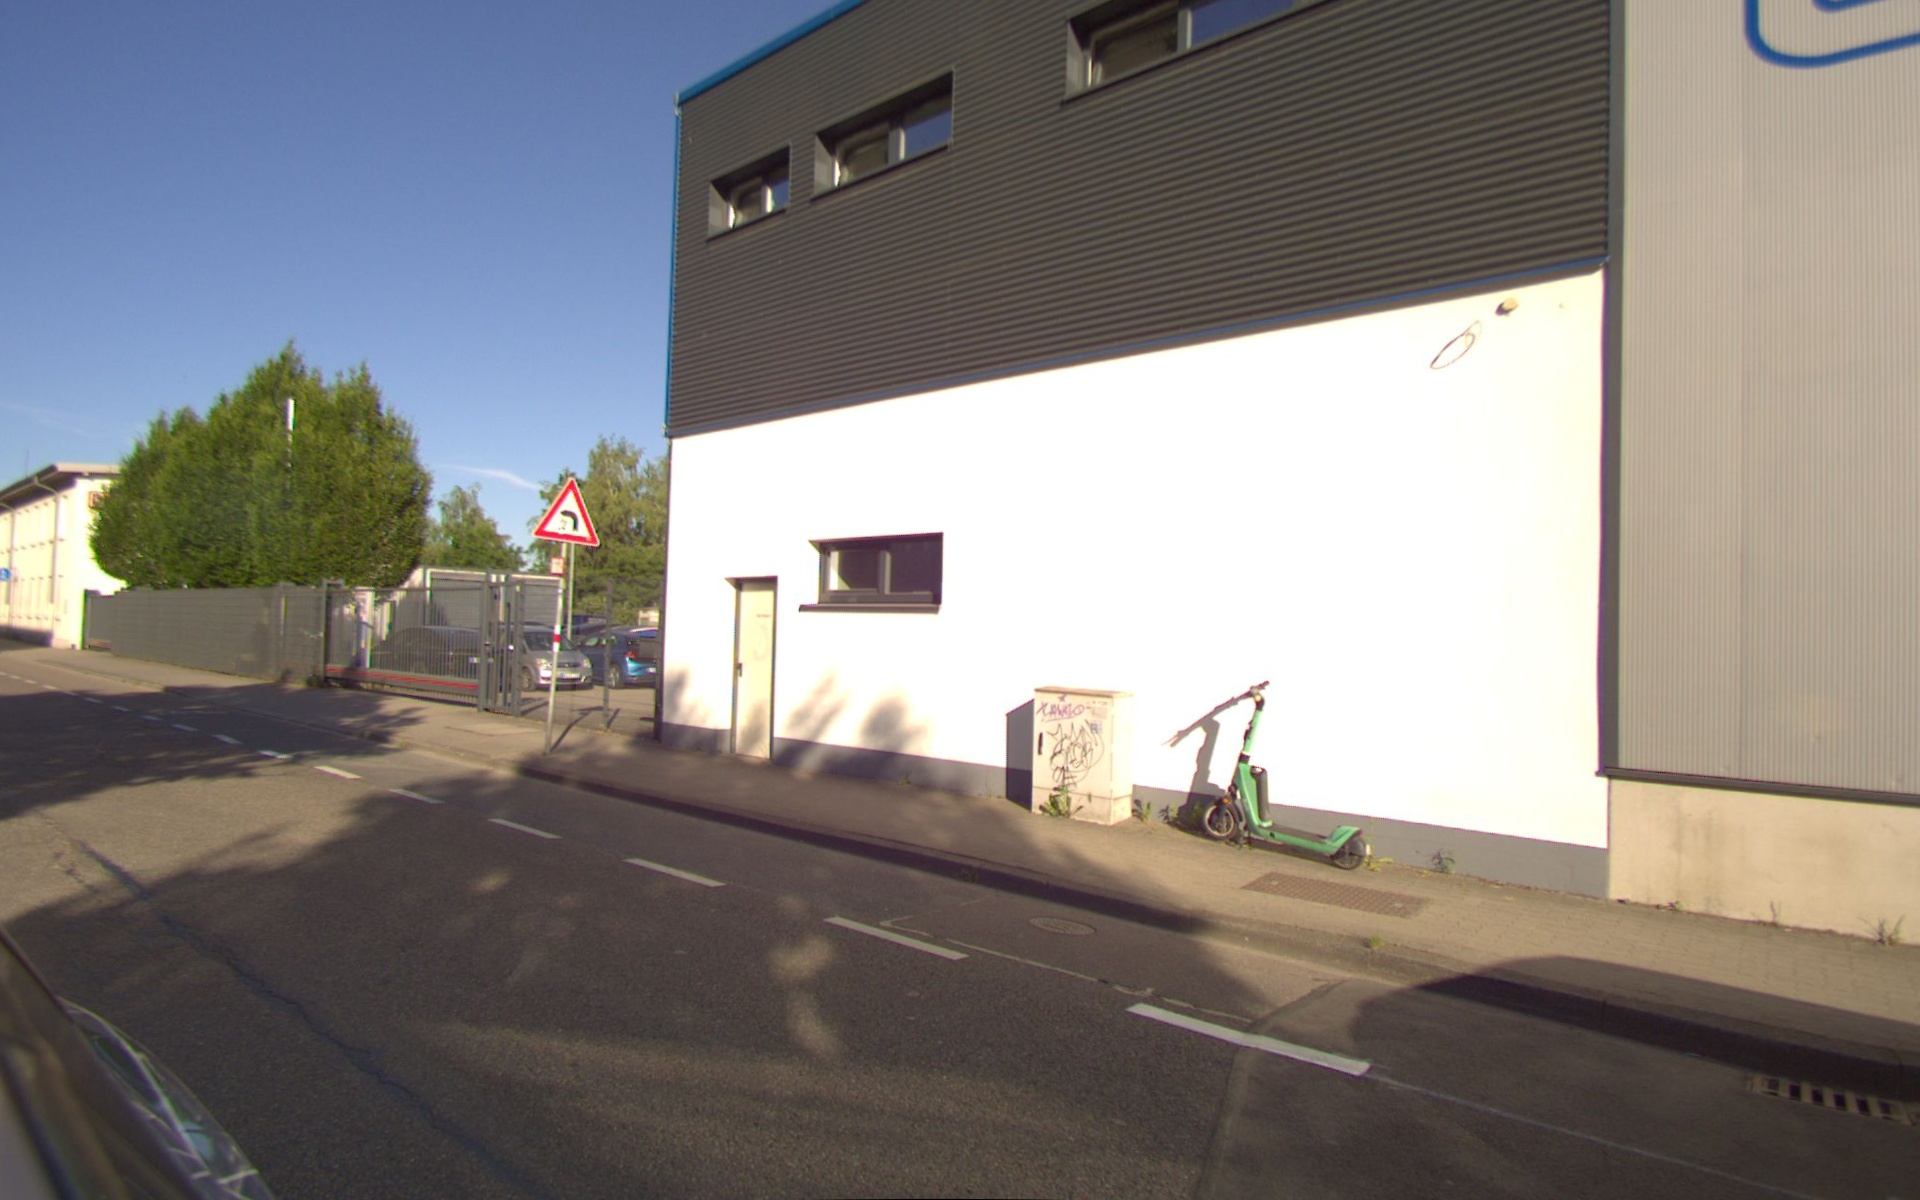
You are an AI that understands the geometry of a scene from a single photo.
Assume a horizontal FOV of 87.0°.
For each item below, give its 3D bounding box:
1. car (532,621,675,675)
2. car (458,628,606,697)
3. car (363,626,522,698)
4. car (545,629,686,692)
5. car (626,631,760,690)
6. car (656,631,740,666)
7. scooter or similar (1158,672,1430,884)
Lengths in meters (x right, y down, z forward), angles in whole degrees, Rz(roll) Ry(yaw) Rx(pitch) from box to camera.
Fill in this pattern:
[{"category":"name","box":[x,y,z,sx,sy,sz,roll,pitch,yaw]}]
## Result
[{"category":"car","box":[-11.574,1.588,33.076,1.874,1.552,3.946,0,-4,40]},{"category":"car","box":[-11.342,1.626,26.713,3.995,1.618,1.851,0,-4,39]},{"category":"car","box":[-12.481,1.462,24.319,3.995,1.552,1.851,0,-4,39]},{"category":"car","box":[-9.723,1.689,28.475,3.995,1.589,1.851,0,-4,39]},{"category":"car","box":[-8.118,1.820,30.673,3.995,1.603,1.851,0,-4,39]},{"category":"car","box":[-11.899,2.191,45.870,4.000,1.468,1.756,0,-3,43]},{"category":"scooter or similar","box":[2.285,1.162,7.073,1.752,1.212,0.501,0,0,41]}]
